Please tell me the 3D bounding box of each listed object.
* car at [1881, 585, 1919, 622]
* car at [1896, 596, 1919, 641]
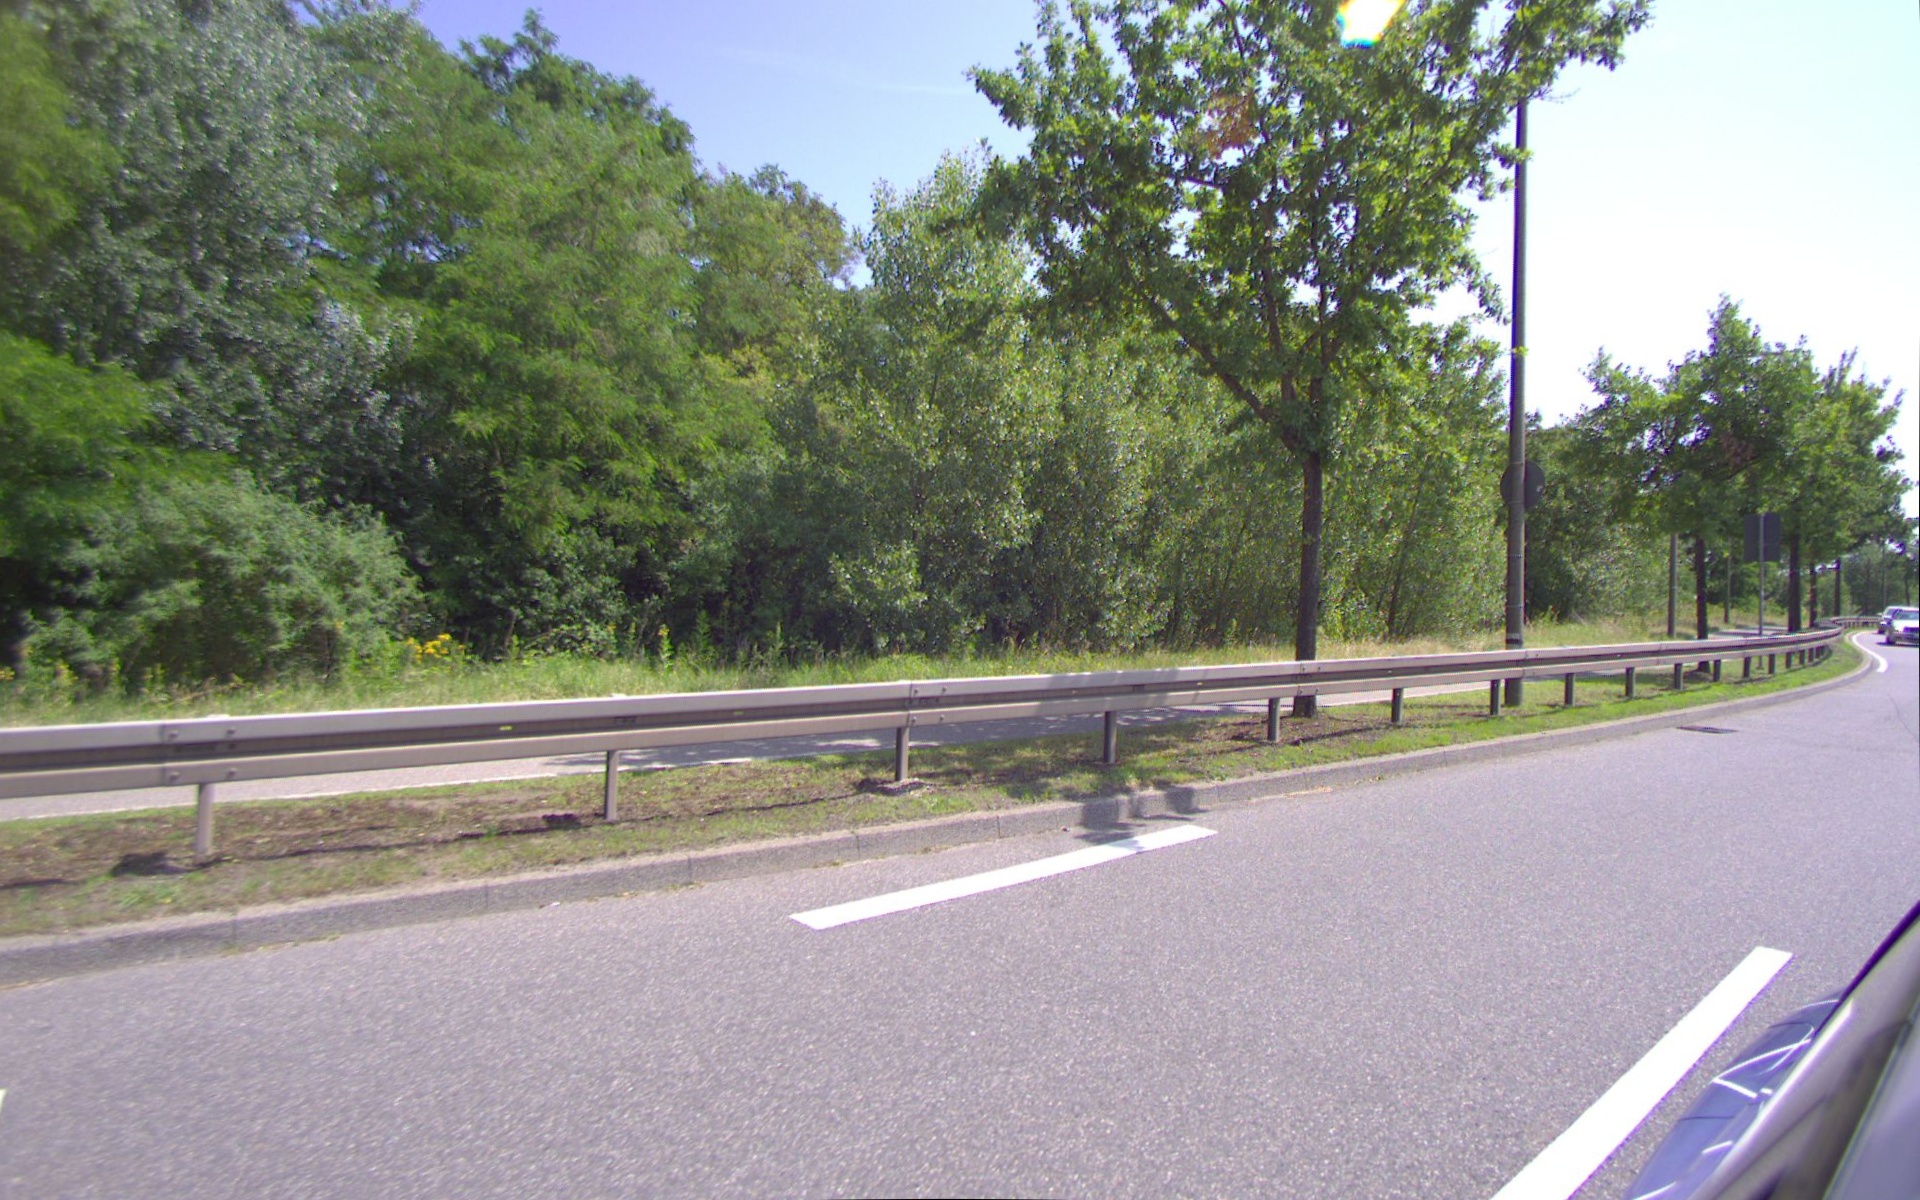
[{"bbox_3d":[48.344,0.169,51.480,4.220,1.805,1.797,0,2,-42],"label":"car"},{"bbox_3d":[35.405,0.661,36.935,1.758,1.517,4.168,2,2,43],"label":"car"}]
